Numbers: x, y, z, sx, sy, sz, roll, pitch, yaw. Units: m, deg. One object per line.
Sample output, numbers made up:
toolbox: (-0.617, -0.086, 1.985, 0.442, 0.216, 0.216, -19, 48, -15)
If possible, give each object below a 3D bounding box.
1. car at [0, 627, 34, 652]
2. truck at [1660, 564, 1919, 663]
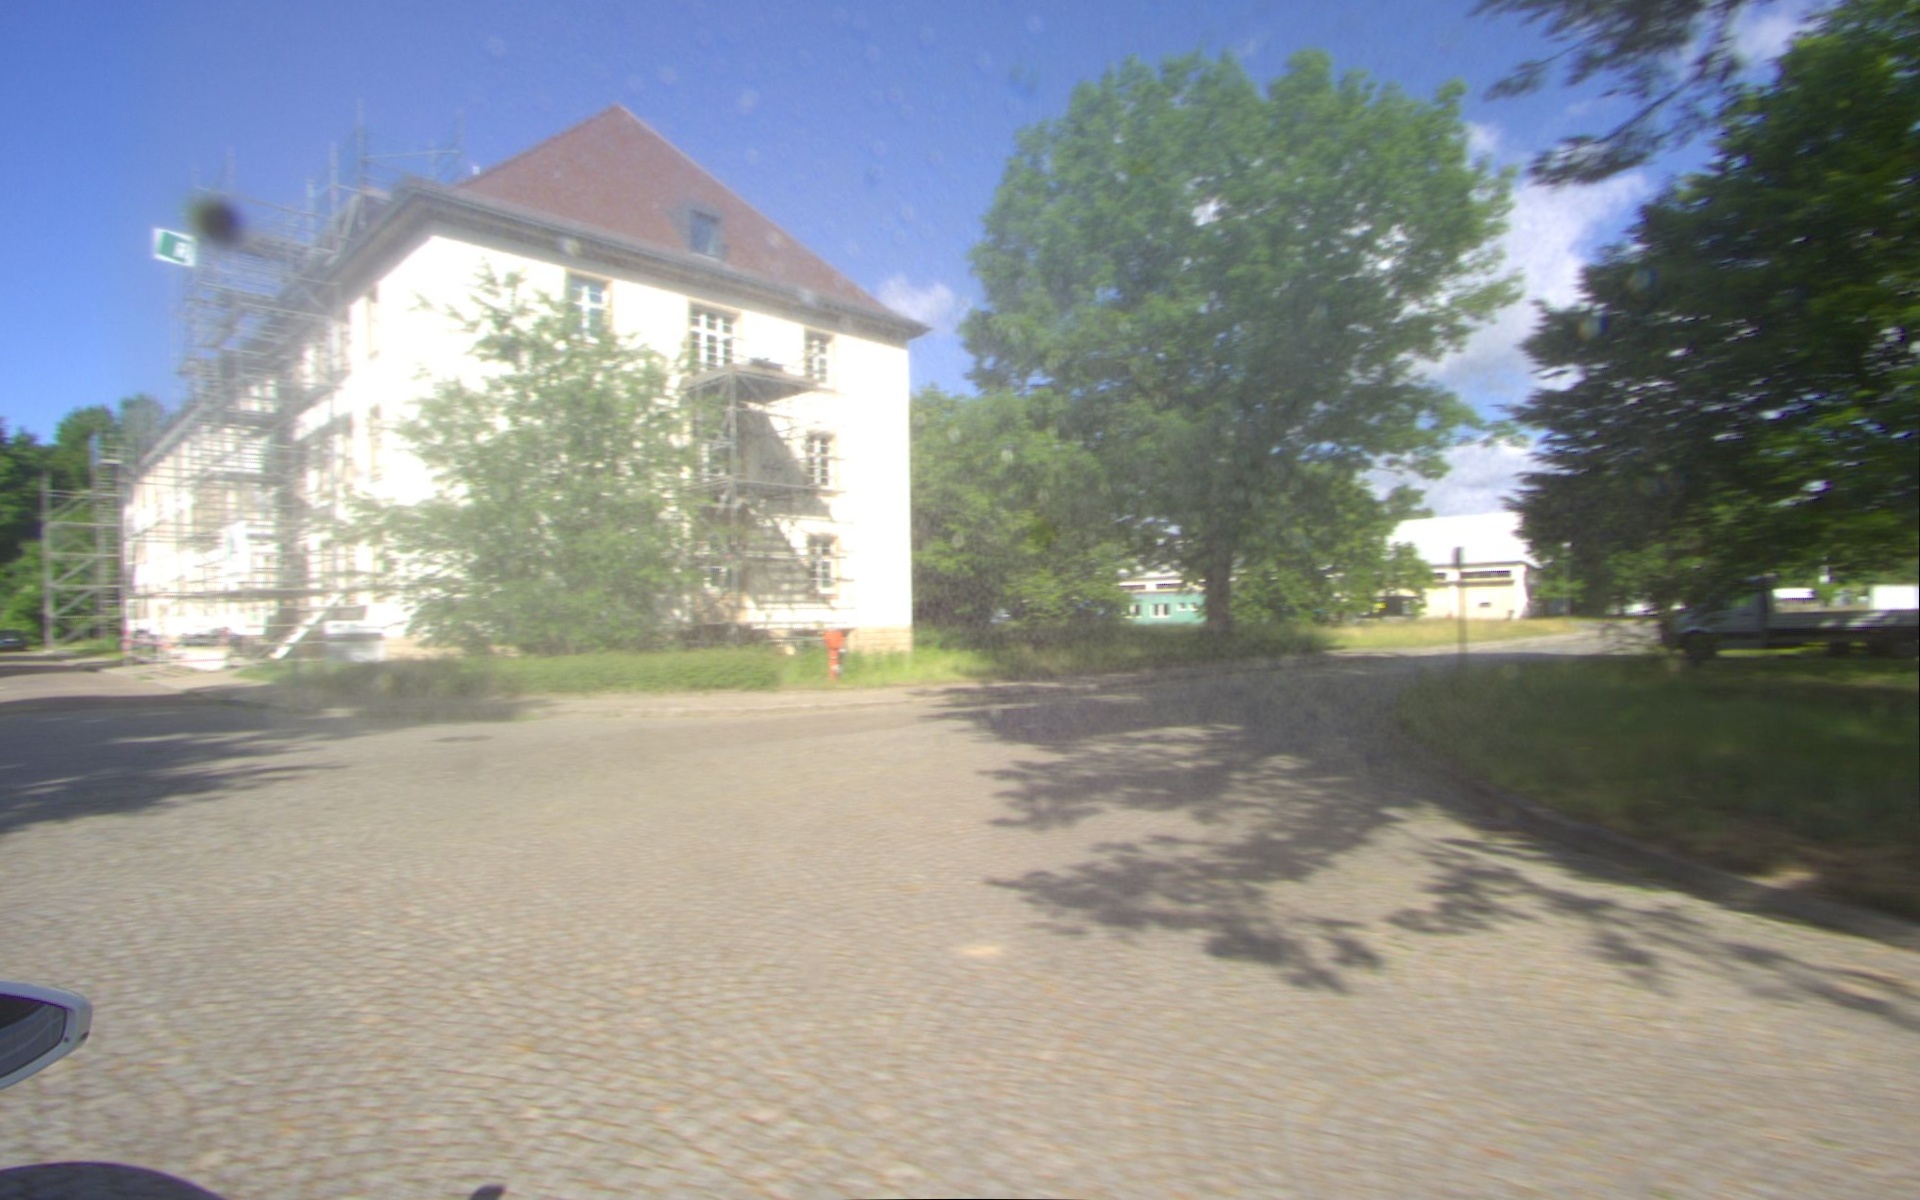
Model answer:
car: (-69.064, 2.873, 73.085, 4.044, 1.690, 1.959, -2, -1, 45)
truck: (23.105, 0.415, 26.884, 6.815, 2.454, 2.220, -2, -2, 44)
